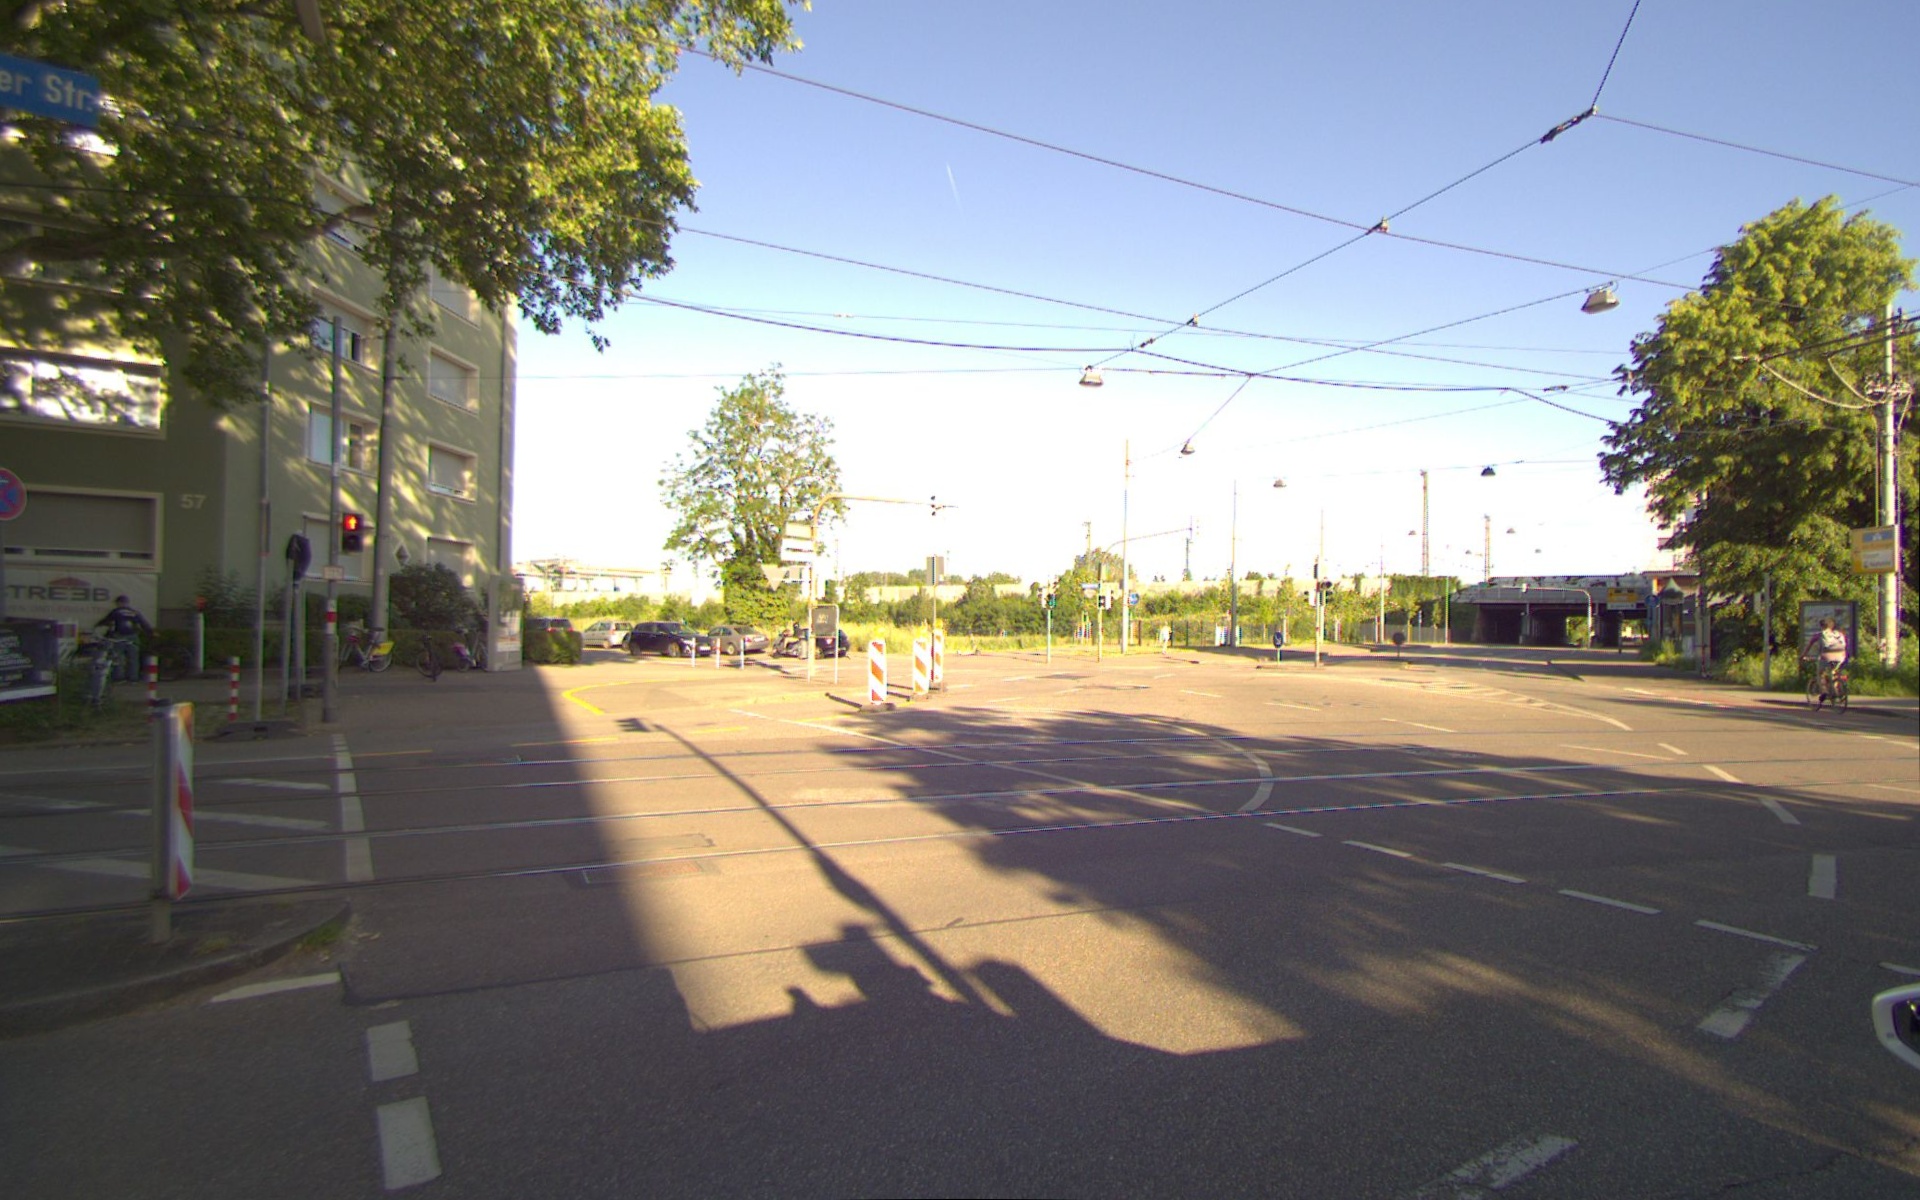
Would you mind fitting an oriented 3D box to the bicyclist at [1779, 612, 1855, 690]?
[{"bbox_3d":[17.615,1.035,20.673,0.827,1.530,1.368,0,-1,24],"label":"bicyclist"}]

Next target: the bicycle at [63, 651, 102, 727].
[{"bbox_3d":[-11.607,1.151,13.286,0.355,0.900,1.554,2,-1,-41],"label":"bicycle"}]

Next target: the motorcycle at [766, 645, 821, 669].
[{"bbox_3d":[-7.182,2.433,43.259,2.299,0.882,0.732,2,-1,24],"label":"motorcycle"}]

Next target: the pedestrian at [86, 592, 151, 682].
[{"bbox_3d":[-15.253,0.663,18.219,0.592,1.589,0.741,0,-1,33],"label":"pedestrian"}]

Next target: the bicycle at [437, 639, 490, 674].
[{"bbox_3d":[-11.993,1.357,24.309,0.351,0.769,1.781,1,-1,1],"label":"bicycle"}]

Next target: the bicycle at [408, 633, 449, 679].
[{"bbox_3d":[-11.262,1.168,21.256,0.355,0.900,1.759,2,-1,-41],"label":"bicycle"}]

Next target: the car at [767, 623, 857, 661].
[{"bbox_3d":[-7.030,1.944,47.512,3.933,1.439,1.888,1,5,34],"label":"car"}]

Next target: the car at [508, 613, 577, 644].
[{"bbox_3d":[-25.238,1.671,60.681,3.933,1.590,1.888,1,5,34],"label":"car"}]

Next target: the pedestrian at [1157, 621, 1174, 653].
[{"bbox_3d":[10.632,1.893,52.028,0.591,1.617,0.683,2,0,35],"label":"pedestrian"}]

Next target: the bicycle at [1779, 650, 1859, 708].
[{"bbox_3d":[17.554,1.586,20.570,0.656,1.073,2.081,0,-1,23],"label":"bicycle"}]

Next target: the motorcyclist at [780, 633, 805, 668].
[{"bbox_3d":[-7.215,2.183,43.258,0.780,1.452,0.714,2,0,23],"label":"motorcyclist"}]

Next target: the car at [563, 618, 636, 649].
[{"bbox_3d":[-20.534,1.896,57.216,3.933,1.439,1.888,1,5,34],"label":"car"}]

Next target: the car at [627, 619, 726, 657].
[{"bbox_3d":[-11.969,1.563,42.381,3.933,1.439,1.994,1,0,34],"label":"car"}]

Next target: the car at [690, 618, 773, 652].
[{"bbox_3d":[-11.600,1.735,50.883,3.933,1.439,1.888,1,5,34],"label":"car"}]

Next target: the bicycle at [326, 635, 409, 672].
[{"bbox_3d":[-13.061,1.163,22.192,0.351,0.769,1.781,1,-1,18],"label":"bicycle"}]

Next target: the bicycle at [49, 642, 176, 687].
[{"bbox_3d":[-15.658,1.183,18.607,0.352,0.769,1.776,0,-1,32],"label":"bicycle"}]
